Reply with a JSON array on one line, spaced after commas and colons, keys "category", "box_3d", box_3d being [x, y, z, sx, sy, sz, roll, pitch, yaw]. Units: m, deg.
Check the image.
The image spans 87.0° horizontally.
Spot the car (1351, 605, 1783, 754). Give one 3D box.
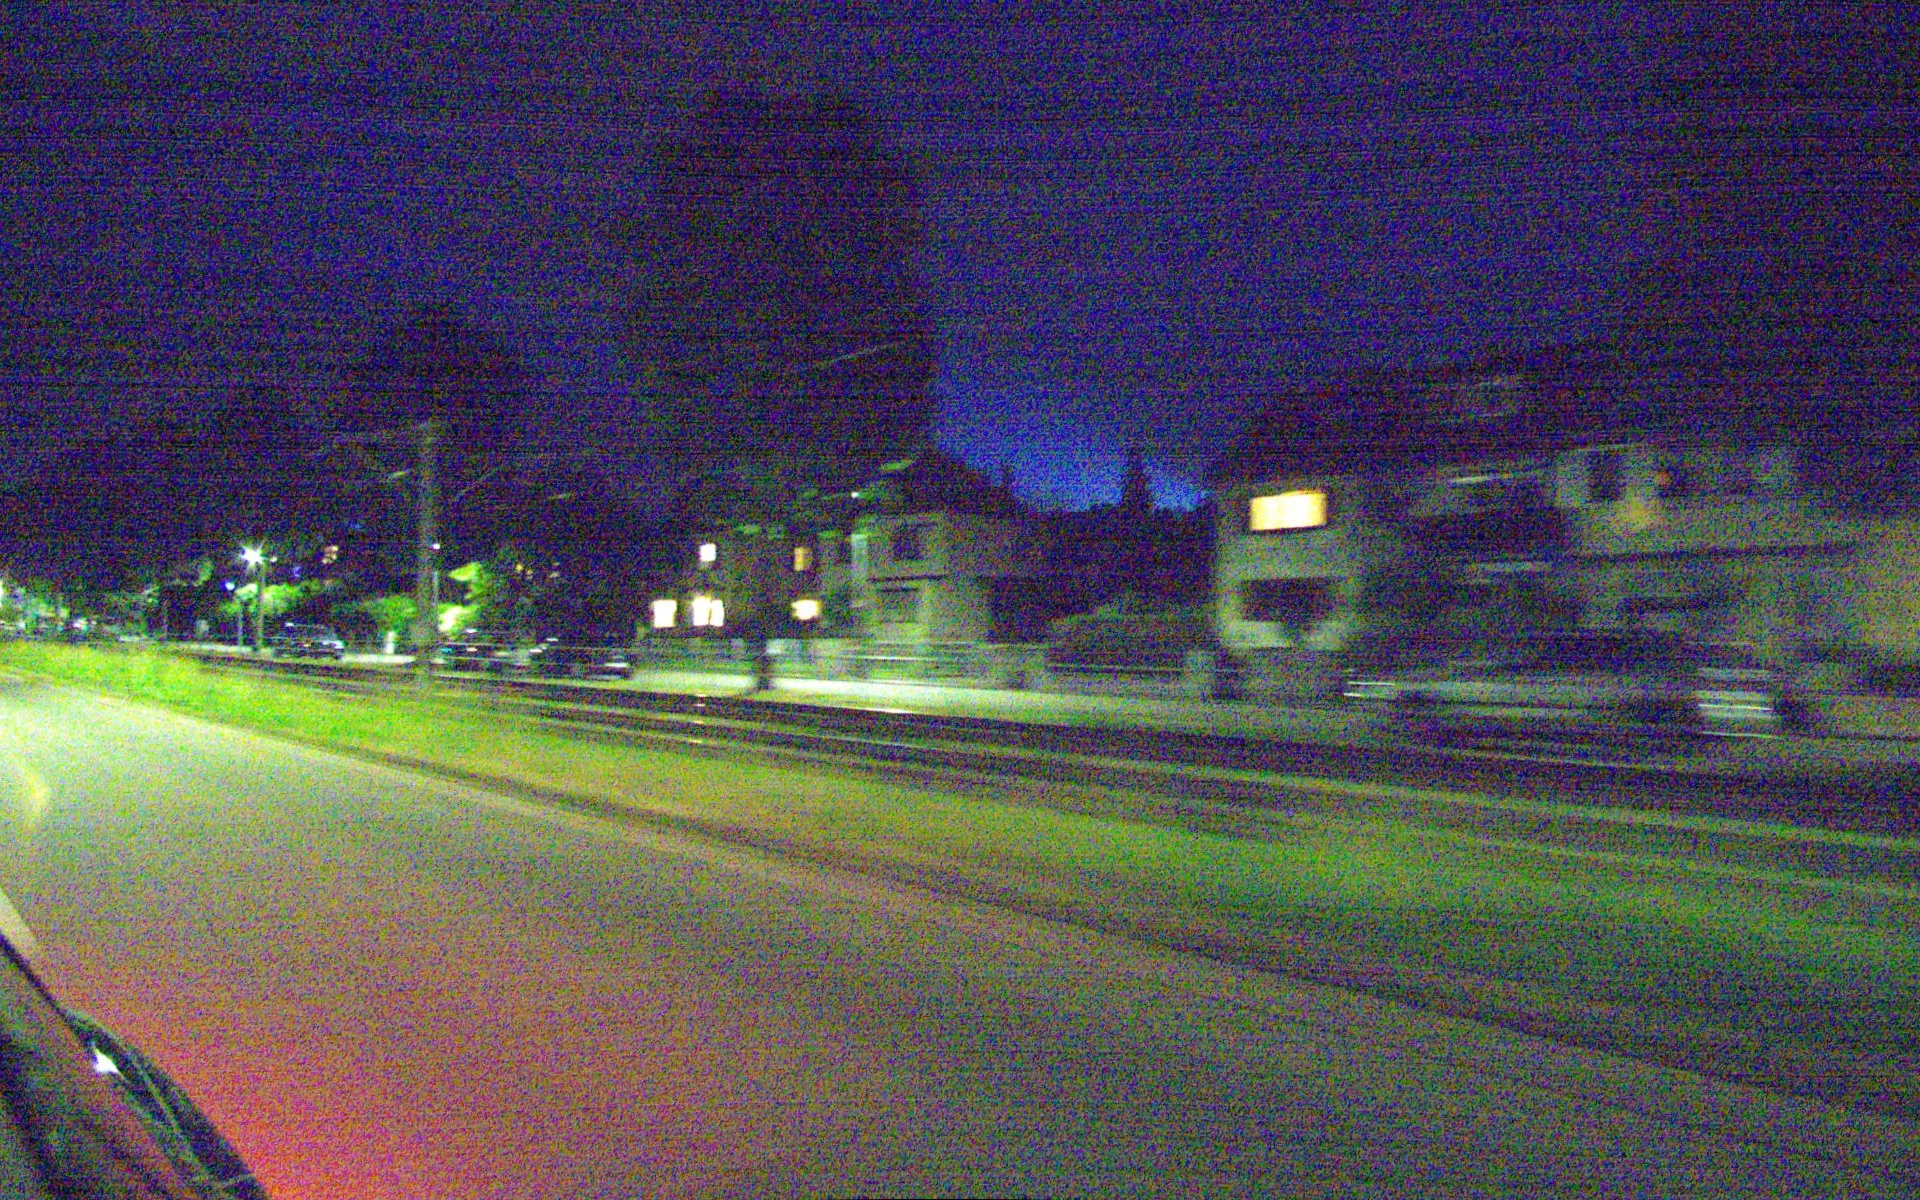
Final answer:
[{"category": "car", "box_3d": [7.636, 0.942, 13.051, 4.535, 1.589, 1.698, -1, -5, 43]}]

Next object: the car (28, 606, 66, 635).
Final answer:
[{"category": "car", "box_3d": [-86.734, 1.947, 96.107, 4.721, 2.532, 2.135, -1, -5, 44]}]

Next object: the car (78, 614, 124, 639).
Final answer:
[{"category": "car", "box_3d": [-66.744, 2.020, 78.602, 4.721, 1.784, 2.096, -1, -5, 44]}]

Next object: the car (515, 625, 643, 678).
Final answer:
[{"category": "car", "box_3d": [-11.279, 1.495, 29.843, 4.144, 1.375, 1.710, 0, -4, 41]}]

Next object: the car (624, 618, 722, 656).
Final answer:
[{"category": "car", "box_3d": [-12.993, 1.636, 45.970, 1.887, 1.554, 3.948, -1, 0, 39]}]

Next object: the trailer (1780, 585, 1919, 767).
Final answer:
[{"category": "trailer", "box_3d": [11.484, 0.778, 9.583, 5.673, 1.794, 2.002, -1, -4, 43]}]

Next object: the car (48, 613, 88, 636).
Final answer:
[{"category": "car", "box_3d": [-76.815, 2.103, 87.128, 4.721, 1.784, 2.096, -1, -5, 44]}]

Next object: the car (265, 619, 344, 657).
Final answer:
[{"category": "car", "box_3d": [-30.315, 1.735, 46.775, 4.691, 1.580, 1.745, -1, -6, 41]}]

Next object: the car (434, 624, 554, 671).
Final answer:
[{"category": "car", "box_3d": [-15.593, 1.573, 33.752, 4.985, 1.375, 1.879, -1, -5, 44]}]
